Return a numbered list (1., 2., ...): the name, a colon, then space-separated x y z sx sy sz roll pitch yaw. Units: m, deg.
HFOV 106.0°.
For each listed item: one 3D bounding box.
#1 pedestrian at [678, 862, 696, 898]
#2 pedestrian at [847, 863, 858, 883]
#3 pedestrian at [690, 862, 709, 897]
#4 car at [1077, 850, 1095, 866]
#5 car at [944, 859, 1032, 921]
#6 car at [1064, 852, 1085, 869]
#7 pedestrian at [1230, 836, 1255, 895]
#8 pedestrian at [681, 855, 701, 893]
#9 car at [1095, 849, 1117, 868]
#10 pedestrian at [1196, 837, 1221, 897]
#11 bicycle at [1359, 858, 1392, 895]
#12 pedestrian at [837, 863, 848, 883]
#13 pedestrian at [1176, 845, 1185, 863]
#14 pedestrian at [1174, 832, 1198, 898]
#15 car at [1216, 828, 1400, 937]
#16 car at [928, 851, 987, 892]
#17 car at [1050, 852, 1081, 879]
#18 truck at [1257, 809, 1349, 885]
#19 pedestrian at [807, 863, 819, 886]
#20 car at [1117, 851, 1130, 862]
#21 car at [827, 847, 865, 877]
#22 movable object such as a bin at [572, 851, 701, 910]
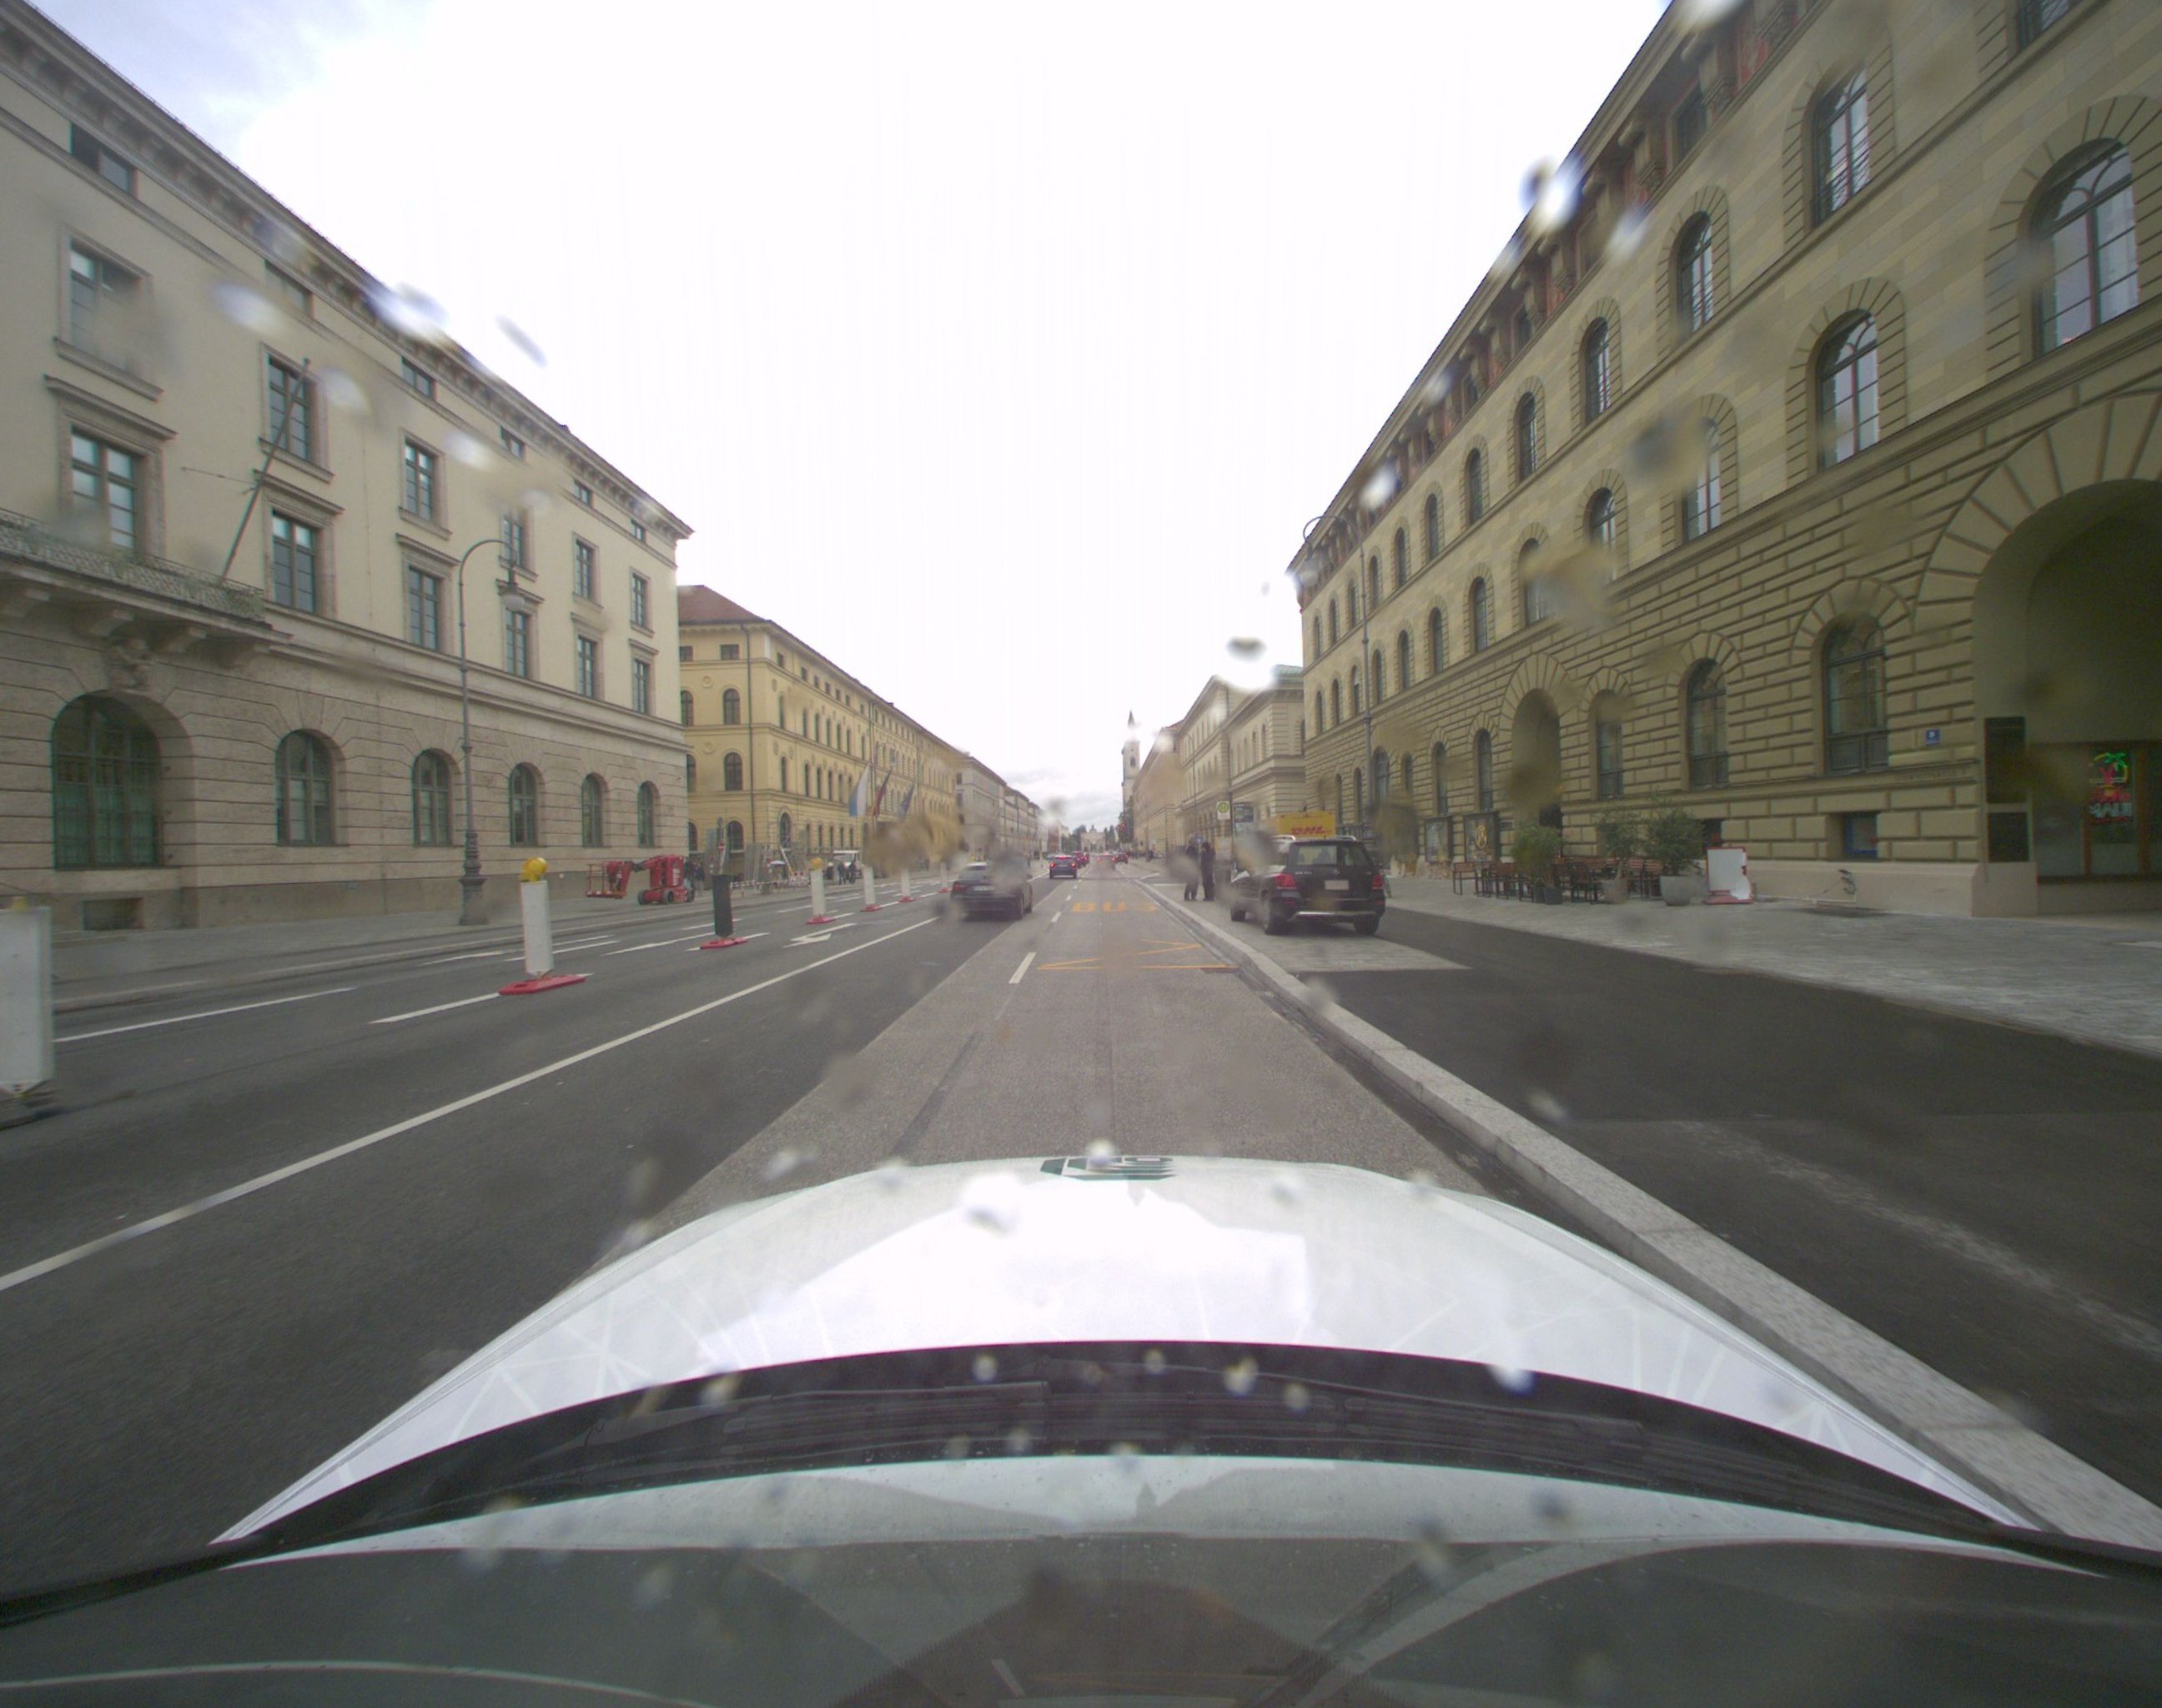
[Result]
1. pedestrian: -18.819 1.225 38.906 0.551 1.676 0.617 -2 -1 -2
2. pedestrian: -16.275 1.341 58.005 0.538 1.411 0.617 -2 -1 -2
3. pedestrian: -18.224 1.229 38.911 0.610 1.652 0.617 -2 -1 -2
4. car: 0.608 0.430 97.821 1.986 1.772 4.002 -2 0 2
5. car: -2.274 0.847 20.844 1.858 1.388 3.998 -1 0 -1
6. car: -0.641 0.681 87.174 1.986 1.772 4.002 -2 0 2
7. pedestrian: 4.779 0.352 24.089 0.613 1.702 0.542 -2 -1 4
8. pedestrian: -19.995 1.033 41.724 0.677 1.931 0.651 -2 -1 -2
9. car: 2.429 0.418 77.770 1.986 1.772 4.002 -2 0 2
10. pedestrian: 3.662 0.377 23.428 0.613 1.702 0.542 -2 -1 4
11. bicycle: 8.404 0.632 23.270 0.515 1.022 1.654 -2 -1 8
12. pedestrian: -16.958 1.340 57.873 0.538 1.406 0.617 -2 -1 -2
13. pedestrian: 9.782 0.024 80.225 0.794 1.690 0.800 -2 -1 1
14. pedestrian: 3.015 0.318 23.506 0.612 1.875 0.542 -2 -1 5
15. car: 3.878 0.448 14.748 2.063 1.662 4.220 -1 0 -1
16. car: -5.240 0.751 35.049 1.762 1.617 4.001 -2 -1 2
17. car: -0.961 0.733 52.261 1.762 1.617 4.001 -2 -1 2
18. truck: 8.975 -0.221 33.582 2.610 2.765 5.814 -2 -1 5
19. pedestrian: -17.564 1.348 53.438 0.551 1.530 0.617 -2 -1 -2
20. car: 6.476 0.338 125.181 1.853 1.578 4.001 -2 -1 2
21. car: -18.807 0.655 65.242 1.732 2.288 4.001 -2 -1 2
22. movable object such as a bin: -16.964 0.976 31.527 1.505 2.014 5.977 -2 -1 2
